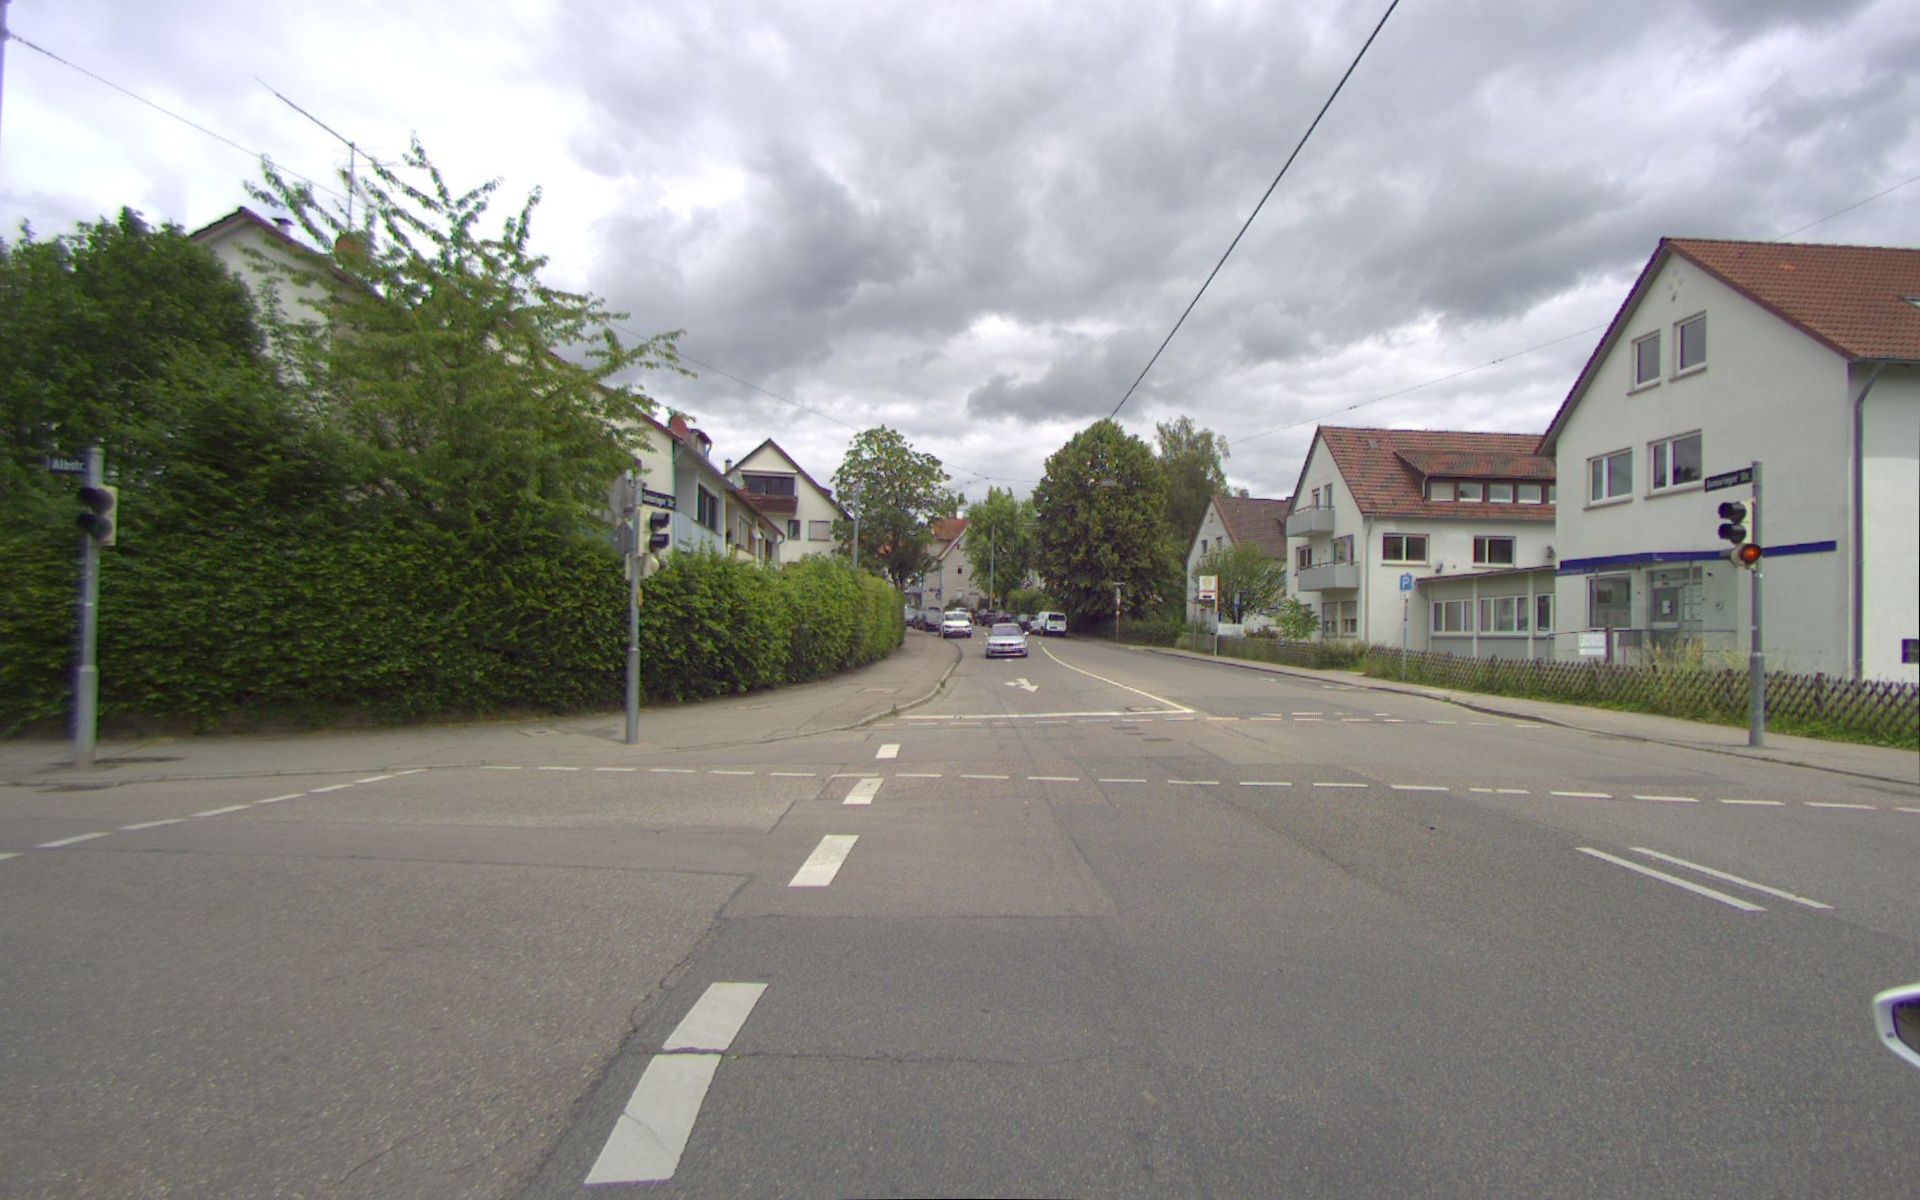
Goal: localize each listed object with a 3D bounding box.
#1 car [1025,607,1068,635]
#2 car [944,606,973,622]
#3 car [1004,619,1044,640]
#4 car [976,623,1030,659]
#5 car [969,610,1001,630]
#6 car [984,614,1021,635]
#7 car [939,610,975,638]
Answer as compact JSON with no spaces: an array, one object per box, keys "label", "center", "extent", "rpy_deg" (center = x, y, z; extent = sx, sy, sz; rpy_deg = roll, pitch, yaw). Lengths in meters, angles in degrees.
[{"label":"car","center":[6.414,1.535,74.998],"extent":[1.813,1.797,4.304],"rpy_deg":[4,0,-15]},{"label":"car","center":[-0.168,1.412,103.700],"extent":[1.916,1.458,3.985],"rpy_deg":[3,0,-17]},{"label":"car","center":[5.096,2.324,80.401],"extent":[1.966,1.498,4.608],"rpy_deg":[2,-1,-13]},{"label":"car","center":[1.754,1.682,42.146],"extent":[1.686,1.372,4.079],"rpy_deg":[1,-1,-6]},{"label":"car","center":[2.297,1.828,92.777],"extent":[1.786,1.636,4.527],"rpy_deg":[3,-1,-13]},{"label":"car","center":[3.650,2.142,87.108],"extent":[1.966,1.636,4.527],"rpy_deg":[3,-1,-13]},{"label":"car","center":[-0.236,1.517,65.616],"extent":[1.821,1.737,4.569],"rpy_deg":[0,0,-8]}]
